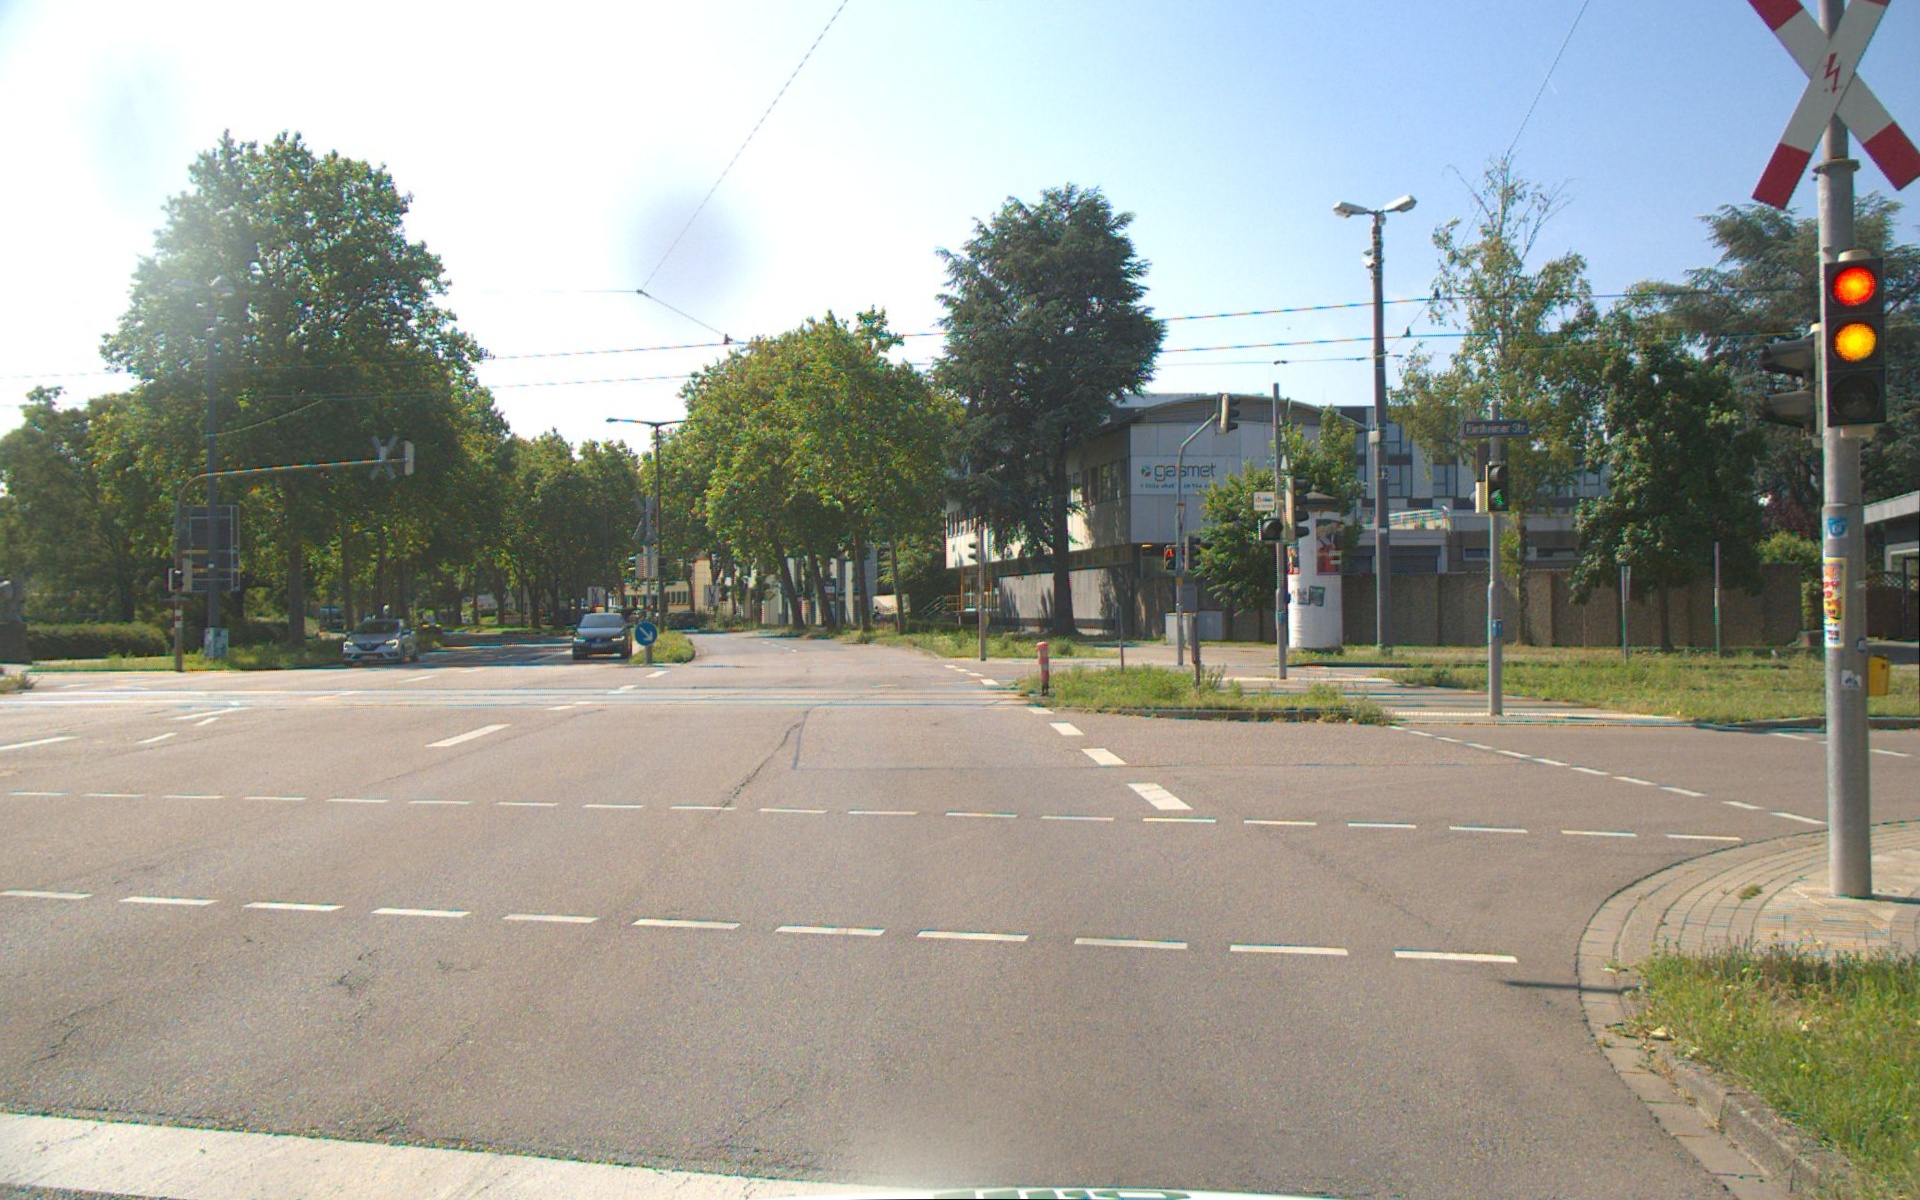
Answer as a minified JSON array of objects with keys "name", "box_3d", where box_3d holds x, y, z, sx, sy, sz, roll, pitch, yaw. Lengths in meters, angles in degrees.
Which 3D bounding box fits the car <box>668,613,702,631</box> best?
[{"name":"car","box_3d":[-23.847,1.901,143.210,1.685,1.513,4.681,-2,0,-25]}]

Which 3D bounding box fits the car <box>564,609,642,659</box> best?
[{"name":"car","box_3d":[-11.492,1.059,53.413,1.659,1.534,4.128,-1,0,-1]}]

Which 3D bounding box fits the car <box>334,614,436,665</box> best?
[{"name":"car","box_3d":[-18.526,1.242,53.473,1.659,1.534,4.660,-1,0,0]}]

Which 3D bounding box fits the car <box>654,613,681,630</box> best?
[{"name":"car","box_3d":[-26.229,1.932,148.375,1.682,1.514,4.075,-1,0,-21]}]
